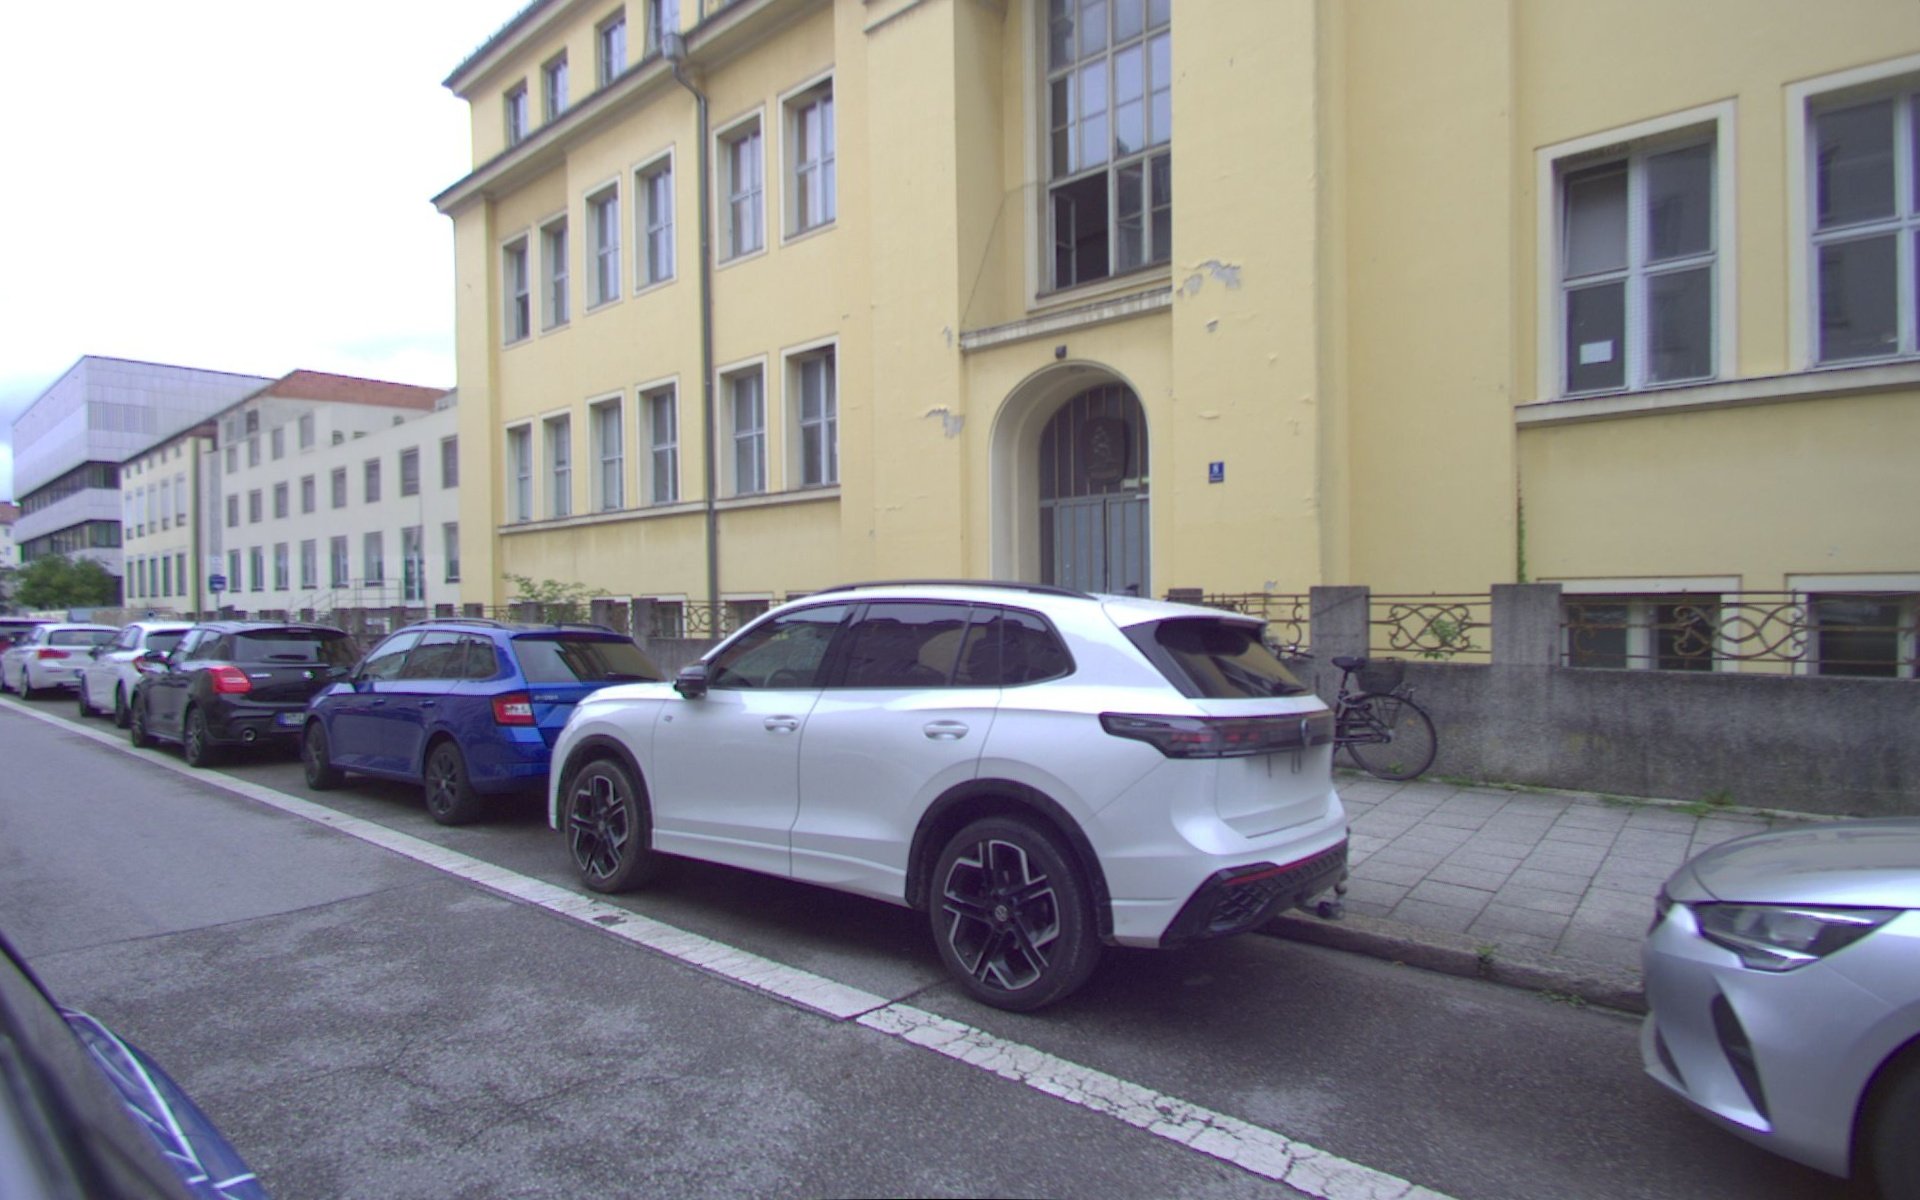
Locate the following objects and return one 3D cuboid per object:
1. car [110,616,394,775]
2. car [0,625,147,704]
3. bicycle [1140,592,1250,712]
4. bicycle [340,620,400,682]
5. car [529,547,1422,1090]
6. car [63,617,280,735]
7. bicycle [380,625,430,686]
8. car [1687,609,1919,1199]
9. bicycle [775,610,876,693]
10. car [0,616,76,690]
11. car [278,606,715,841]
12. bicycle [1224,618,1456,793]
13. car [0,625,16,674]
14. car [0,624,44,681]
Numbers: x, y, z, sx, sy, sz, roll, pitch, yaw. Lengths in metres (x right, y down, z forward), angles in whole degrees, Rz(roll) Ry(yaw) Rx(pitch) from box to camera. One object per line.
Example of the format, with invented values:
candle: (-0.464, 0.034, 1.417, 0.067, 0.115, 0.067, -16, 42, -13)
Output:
car: (-8.169, 0.965, 11.548, 3.982, 1.507, 1.663, -1, -3, 40)
car: (-17.711, 1.218, 19.999, 3.991, 1.408, 1.659, -1, -3, 38)
bicycle: (2.708, 0.552, 11.555, 0.578, 1.197, 1.542, -1, 3, 39)
bicycle: (-12.272, 1.042, 21.025, 1.717, 1.206, 0.579, -1, 2, 44)
car: (-0.201, 0.723, 5.088, 4.350, 1.646, 1.664, -1, -3, 38)
car: (-11.895, 1.070, 15.188, 4.084, 1.539, 1.705, -1, -4, 40)
bicycle: (-10.878, 1.066, 19.813, 0.578, 1.085, 1.721, -3, 1, -37)
car: (3.782, 0.772, 1.849, 3.891, 1.437, 1.663, -1, -4, 40)
bicycle: (-1.922, 0.717, 14.655, 0.438, 1.059, 1.541, -1, 2, 39)
car: (-22.030, 1.188, 23.395, 3.991, 1.578, 1.659, -1, -3, 38)
car: (-3.985, 0.857, 8.441, 3.968, 1.516, 1.664, -1, -3, 38)
bicycle: (2.914, 0.756, 7.850, 1.561, 1.197, 0.571, -1, 3, 41)
car: (-29.638, 1.432, 30.005, 4.122, 1.416, 1.776, -1, -3, 38)
car: (-25.708, 1.345, 26.576, 3.983, 1.416, 1.660, -1, -3, 36)
